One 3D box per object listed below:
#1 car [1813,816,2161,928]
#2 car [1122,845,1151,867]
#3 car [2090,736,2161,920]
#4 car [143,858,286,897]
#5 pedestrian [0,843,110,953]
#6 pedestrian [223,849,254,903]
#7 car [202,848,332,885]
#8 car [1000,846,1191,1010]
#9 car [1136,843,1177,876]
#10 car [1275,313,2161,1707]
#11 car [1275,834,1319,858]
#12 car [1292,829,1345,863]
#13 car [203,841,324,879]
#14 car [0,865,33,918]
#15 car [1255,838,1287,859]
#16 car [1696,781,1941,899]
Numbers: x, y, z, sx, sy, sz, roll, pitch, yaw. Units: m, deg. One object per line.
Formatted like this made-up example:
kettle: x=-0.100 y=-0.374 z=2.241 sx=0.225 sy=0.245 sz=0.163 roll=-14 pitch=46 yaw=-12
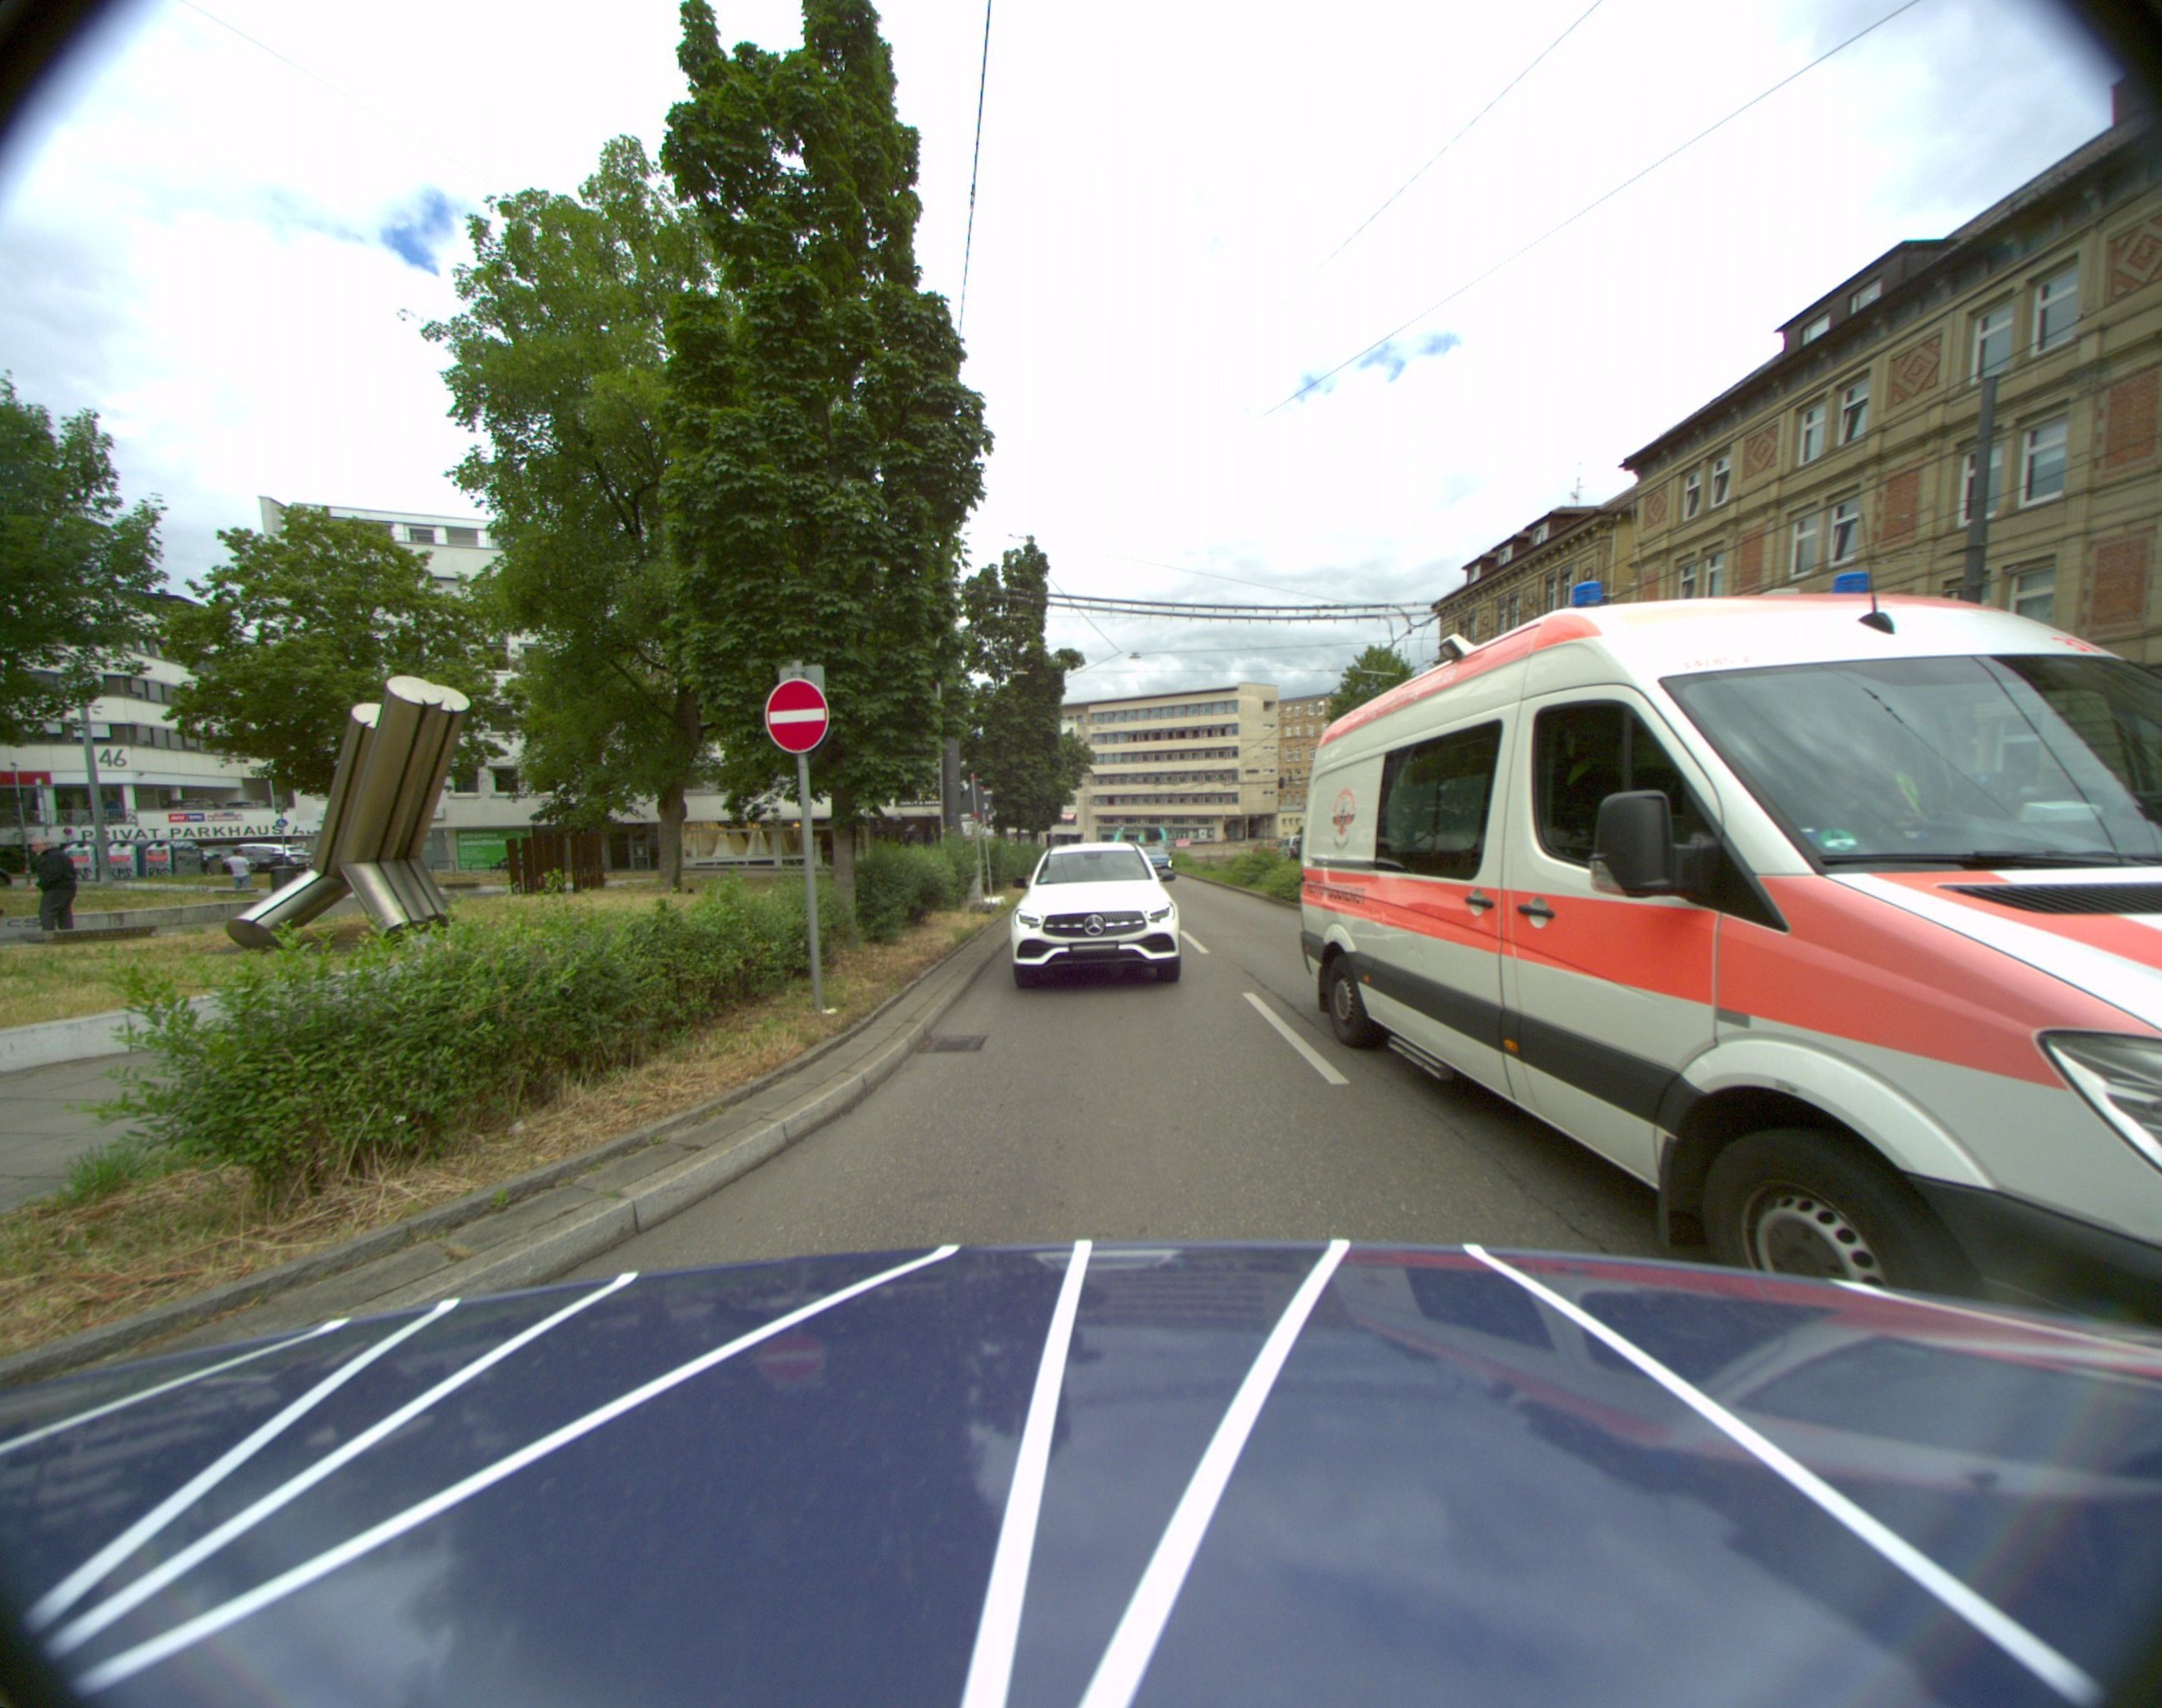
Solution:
car: x=14.700 y=0.216 z=12.344 sx=1.871 sy=1.510 sz=3.950 roll=-1 pitch=1 yaw=2
car: x=3.999 y=0.127 z=55.117 sx=1.998 sy=1.543 sz=4.318 roll=-1 pitch=1 yaw=4
car: x=17.527 y=-0.392 z=10.002 sx=2.214 sy=2.807 sz=4.784 roll=-1 pitch=1 yaw=3
car: x=-40.515 y=1.065 z=35.621 sx=4.000 sy=1.707 sz=1.998 roll=-1 pitch=1 yaw=-9
pedestrian: x=-15.574 y=0.640 z=11.507 sx=0.727 sy=1.593 sz=0.791 roll=-1 pitch=2 yaw=-23
pedestrian: x=-24.497 y=0.627 z=22.095 sx=0.672 sy=1.525 sz=0.529 roll=0 pitch=2 yaw=39
car: x=-40.633 y=0.594 z=38.012 sx=4.000 sy=1.707 sz=1.998 roll=-1 pitch=1 yaw=-9
car: x=0.143 y=0.727 z=9.923 sx=1.894 sy=1.610 sz=4.477 roll=-2 pitch=1 yaw=0
car: x=4.004 y=0.250 z=40.842 sx=1.930 sy=1.563 sz=4.181 roll=-3 pitch=1 yaw=3
car: x=2.791 y=0.407 z=3.818 sx=2.039 sy=2.684 sz=5.853 roll=-2 pitch=1 yaw=0
car: x=14.867 y=-0.591 z=52.543 sx=1.998 sy=1.575 sz=4.000 roll=-1 pitch=1 yaw=1
car: x=14.782 y=-0.515 z=47.557 sx=2.147 sy=2.002 sz=4.748 roll=-1 pitch=1 yaw=4
car: x=-42.749 y=0.288 z=39.834 sx=4.000 sy=1.677 sz=1.687 roll=-4 pitch=2 yaw=-11
car: x=-36.043 y=1.265 z=23.619 sx=2.003 sy=1.730 sz=4.774 roll=-1 pitch=1 yaw=-26
car: x=14.730 y=-0.454 z=59.131 sx=1.681 sy=1.620 sz=3.844 roll=-1 pitch=1 yaw=2
car: x=17.098 y=-0.320 z=17.960 sx=1.998 sy=2.461 sz=4.000 roll=-1 pitch=1 yaw=3
